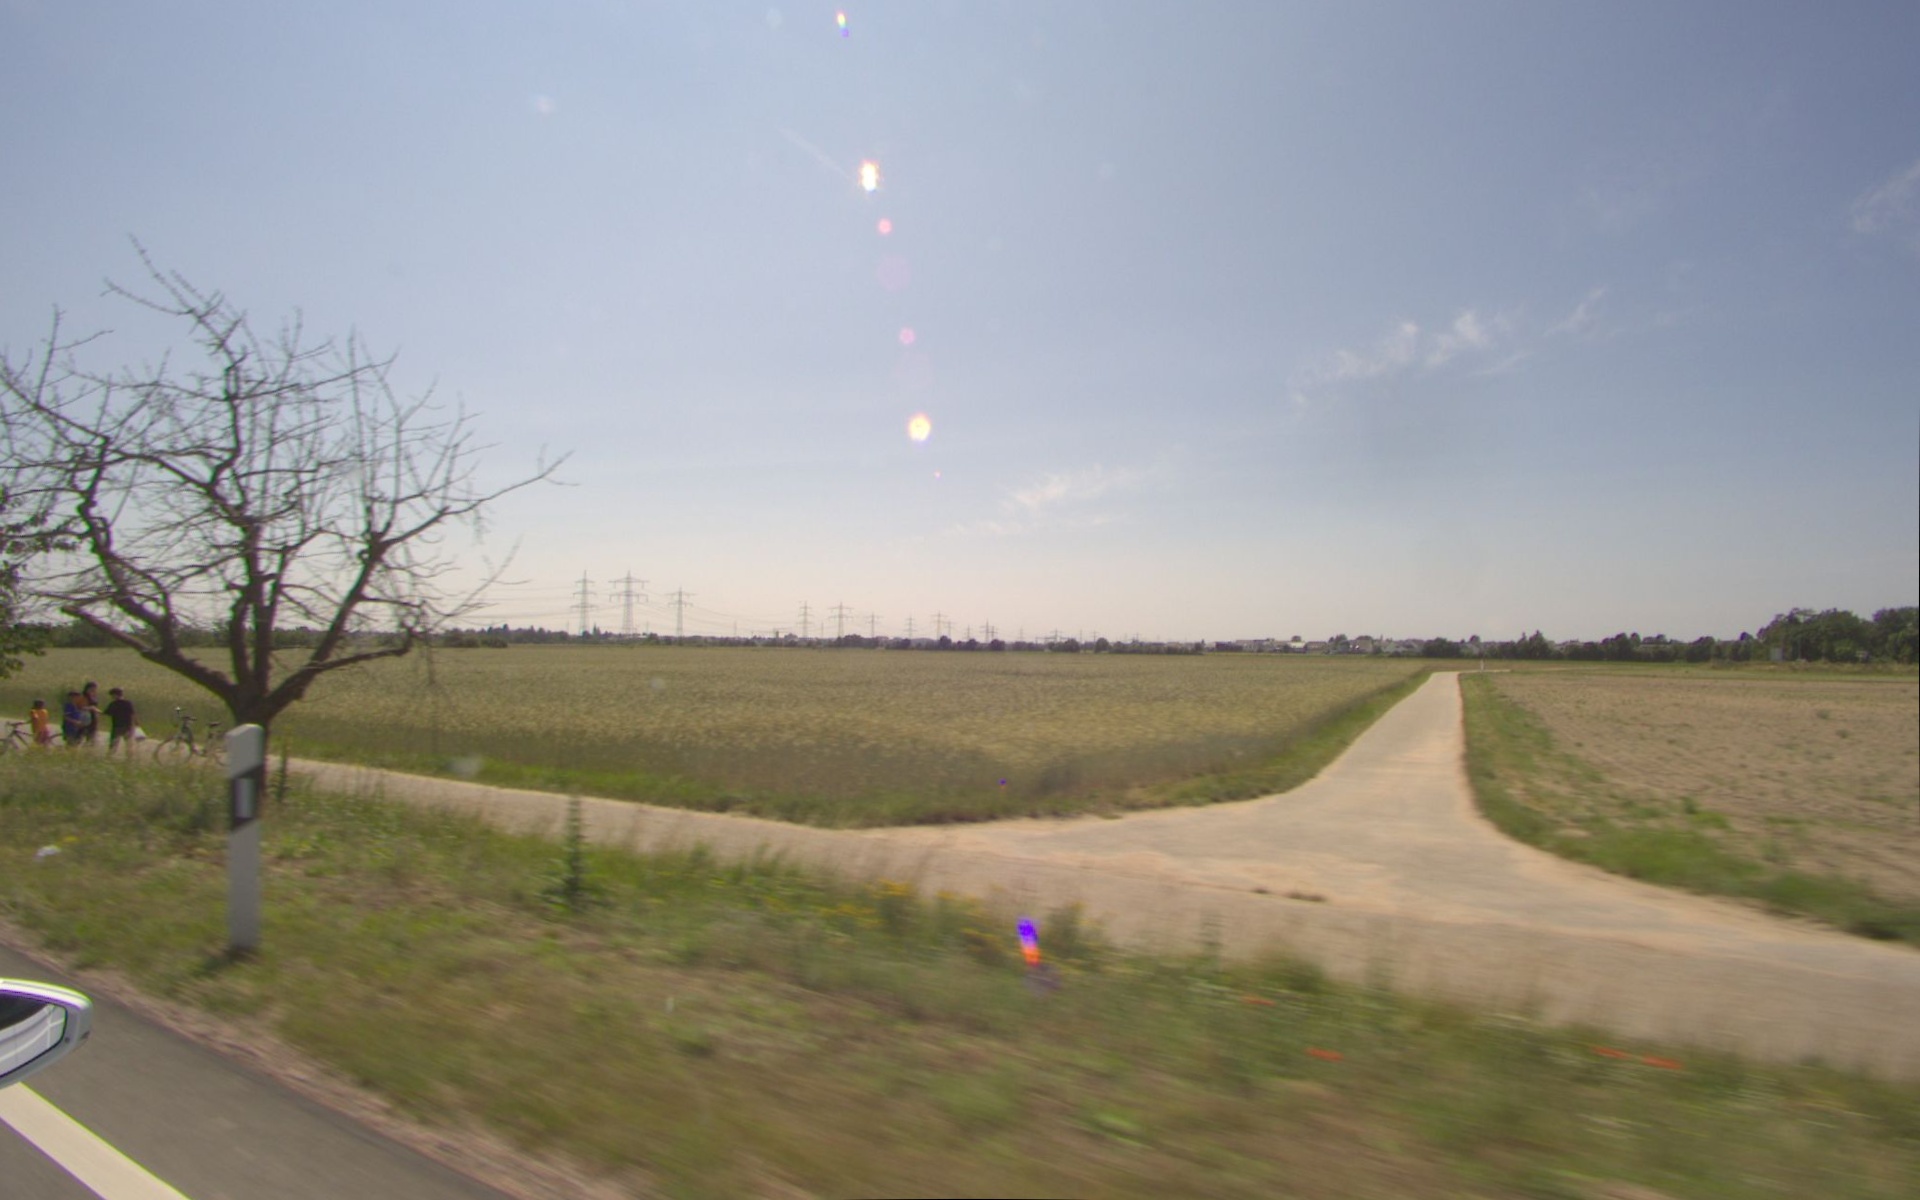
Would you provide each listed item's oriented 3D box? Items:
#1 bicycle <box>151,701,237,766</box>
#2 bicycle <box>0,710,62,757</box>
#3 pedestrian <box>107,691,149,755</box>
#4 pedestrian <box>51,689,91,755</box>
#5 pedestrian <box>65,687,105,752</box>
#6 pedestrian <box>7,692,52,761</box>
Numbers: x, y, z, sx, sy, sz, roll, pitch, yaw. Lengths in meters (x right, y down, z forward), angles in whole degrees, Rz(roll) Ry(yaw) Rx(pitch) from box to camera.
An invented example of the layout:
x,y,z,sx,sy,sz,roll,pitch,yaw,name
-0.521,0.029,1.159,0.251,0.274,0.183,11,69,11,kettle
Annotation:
x,y,z,sx,sy,sz,roll,pitch,yaw,name
-15.226,2.633,19.905,1.652,1.180,0.476,0,-1,17,bicycle
-18.695,2.661,19.942,1.100,0.871,0.441,1,-1,-22,bicycle
-17.627,2.597,21.218,0.478,1.312,0.442,1,-1,-2,pedestrian
-18.480,2.533,20.821,0.479,1.312,0.440,1,-1,-25,pedestrian
-18.646,2.541,21.350,0.478,1.331,0.441,1,-1,-16,pedestrian
-18.316,2.476,19.721,0.478,1.312,0.441,1,-1,-17,pedestrian
